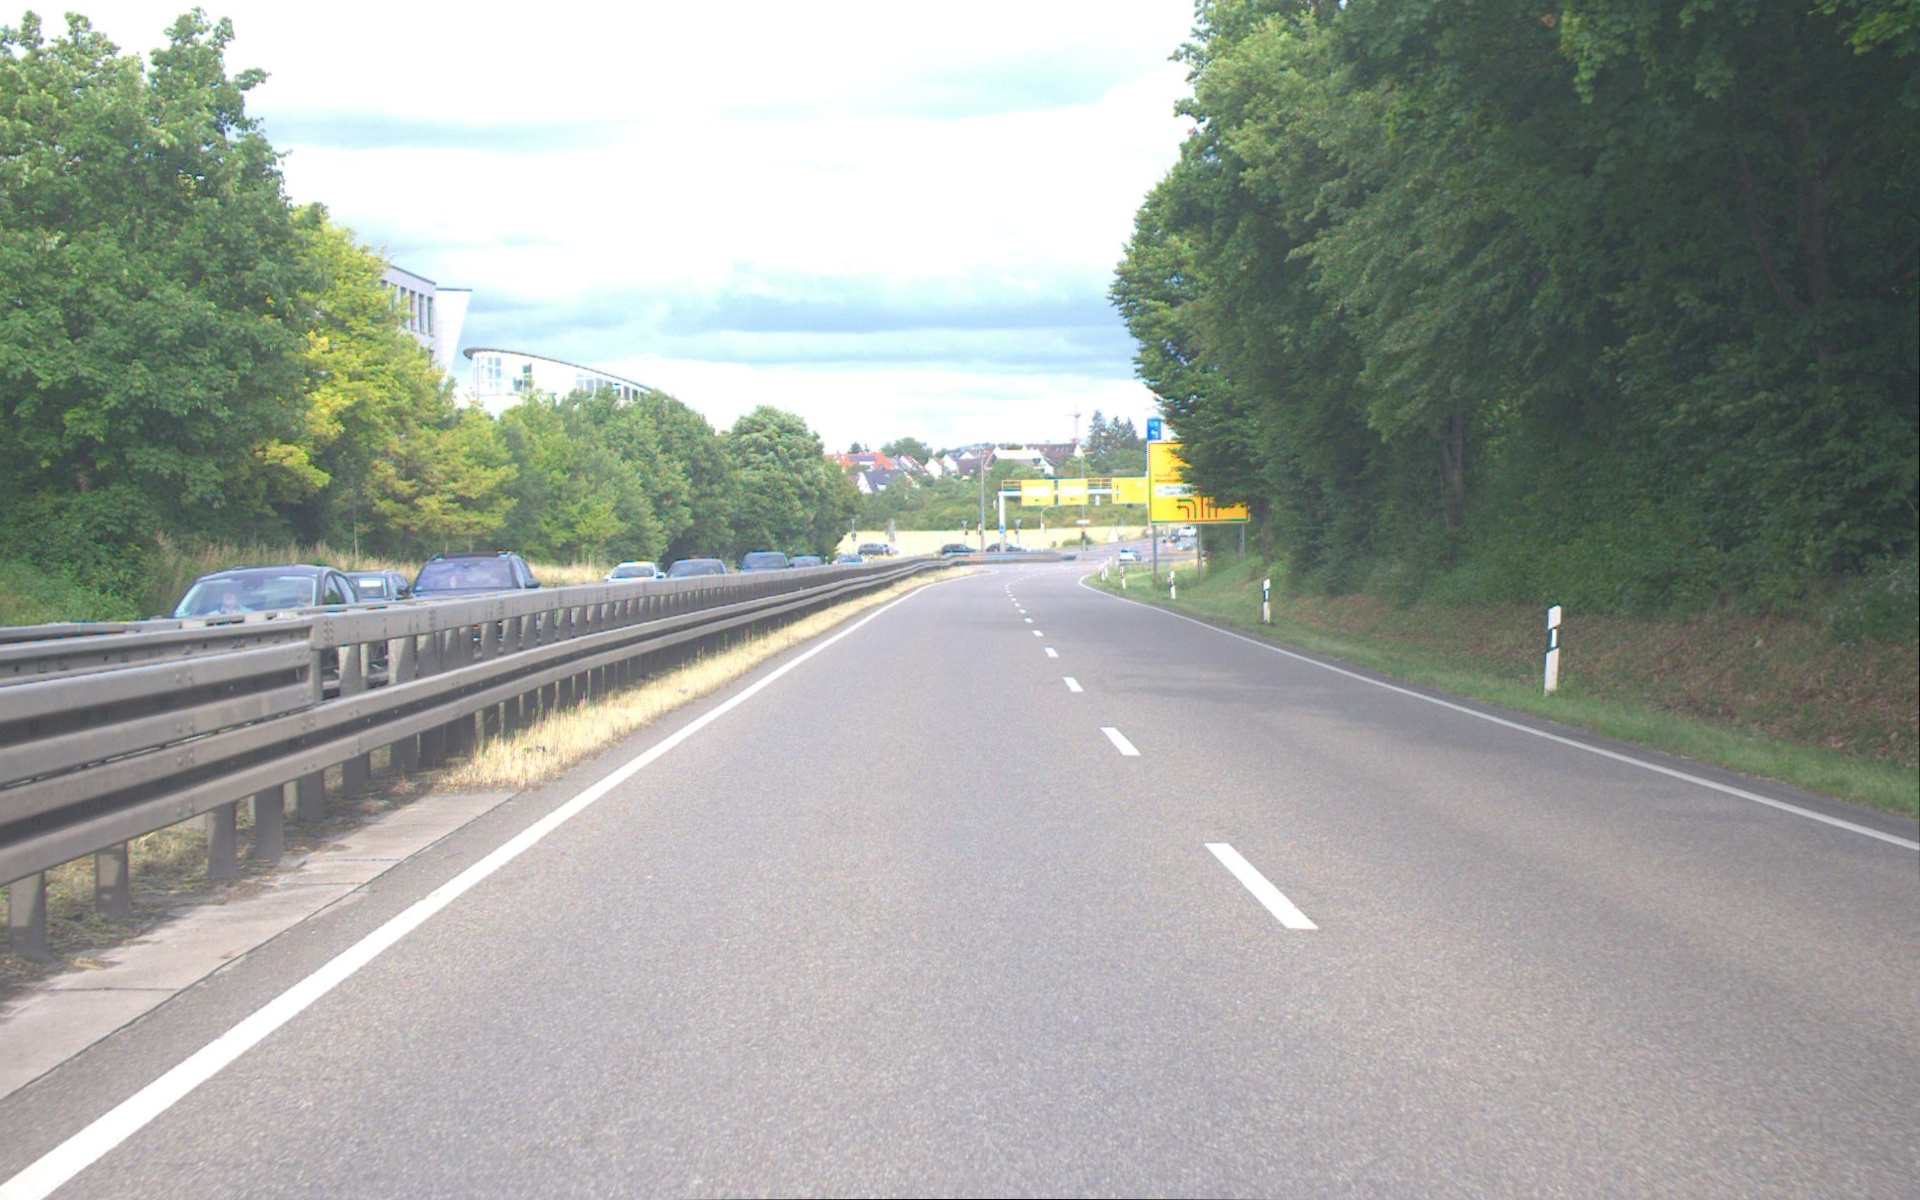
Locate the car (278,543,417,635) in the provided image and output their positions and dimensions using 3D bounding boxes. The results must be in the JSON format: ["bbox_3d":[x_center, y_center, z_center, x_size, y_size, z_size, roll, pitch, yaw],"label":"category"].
[{"bbox_3d":[-10.975,-0.215,61.850,1.742,1.584,4.312,0,1,0],"label":"car"}]

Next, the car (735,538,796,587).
[{"bbox_3d":[-6.728,-1.307,119.335,1.743,1.639,5.280,-1,1,0],"label":"car"}]

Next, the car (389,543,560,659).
[{"bbox_3d":[-6.971,-0.016,49.755,1.821,1.578,4.316,-1,1,0],"label":"car"}]

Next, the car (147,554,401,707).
[{"bbox_3d":[-6.495,0.245,32.914,1.675,1.347,3.832,-1,1,0],"label":"car"}]

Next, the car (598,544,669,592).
[{"bbox_3d":[-10.603,-1.052,111.813,1.817,1.480,4.417,2,1,0],"label":"car"}]
